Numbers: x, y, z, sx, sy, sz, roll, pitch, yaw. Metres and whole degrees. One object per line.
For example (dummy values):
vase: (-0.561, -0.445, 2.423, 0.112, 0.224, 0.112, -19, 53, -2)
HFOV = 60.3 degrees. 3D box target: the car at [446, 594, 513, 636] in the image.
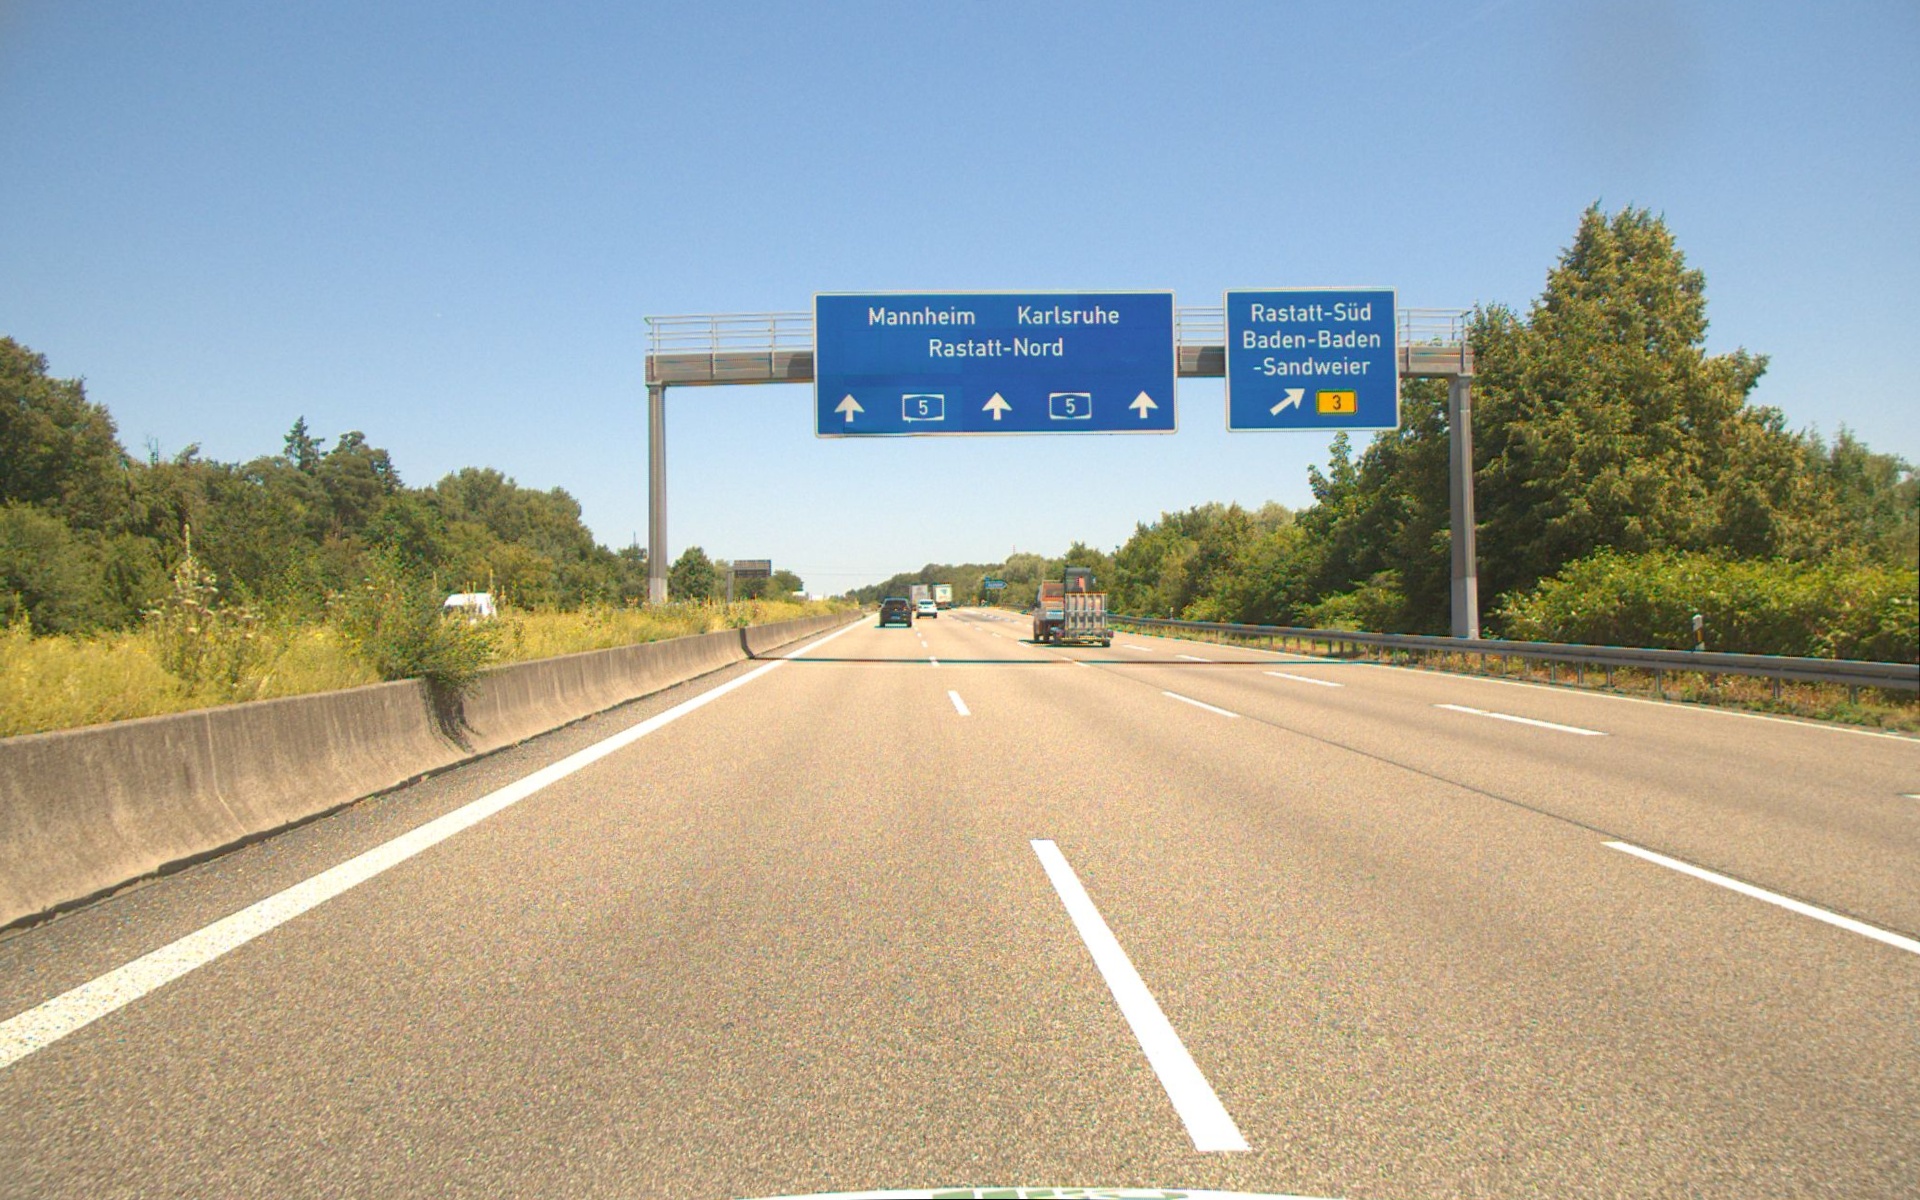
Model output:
car: (-24.604, 0.750, 84.862, 1.953, 2.049, 5.185, 0, 0, -1)

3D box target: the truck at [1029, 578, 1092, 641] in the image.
truck: (3.967, 0.385, 65.827, 1.954, 2.415, 4.641, 0, 0, -4)

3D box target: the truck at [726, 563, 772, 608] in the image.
truck: (-33.662, -2.204, 264.496, 5.311, 7.046, 17.001, 0, 0, -1)

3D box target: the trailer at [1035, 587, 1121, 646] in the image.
trailer: (4.224, 0.570, 60.482, 2.373, 2.049, 6.029, 0, 0, -4)

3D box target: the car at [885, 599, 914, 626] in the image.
car: (-3.746, 0.741, 101.645, 1.627, 1.576, 3.780, -1, 0, -4)

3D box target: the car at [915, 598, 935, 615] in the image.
car: (-3.151, 0.623, 149.552, 1.705, 1.512, 3.998, 0, -1, -3)

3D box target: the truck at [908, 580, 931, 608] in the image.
truck: (-6.095, -0.829, 247.144, 3.243, 4.064, 8.398, 1, -1, -3)
